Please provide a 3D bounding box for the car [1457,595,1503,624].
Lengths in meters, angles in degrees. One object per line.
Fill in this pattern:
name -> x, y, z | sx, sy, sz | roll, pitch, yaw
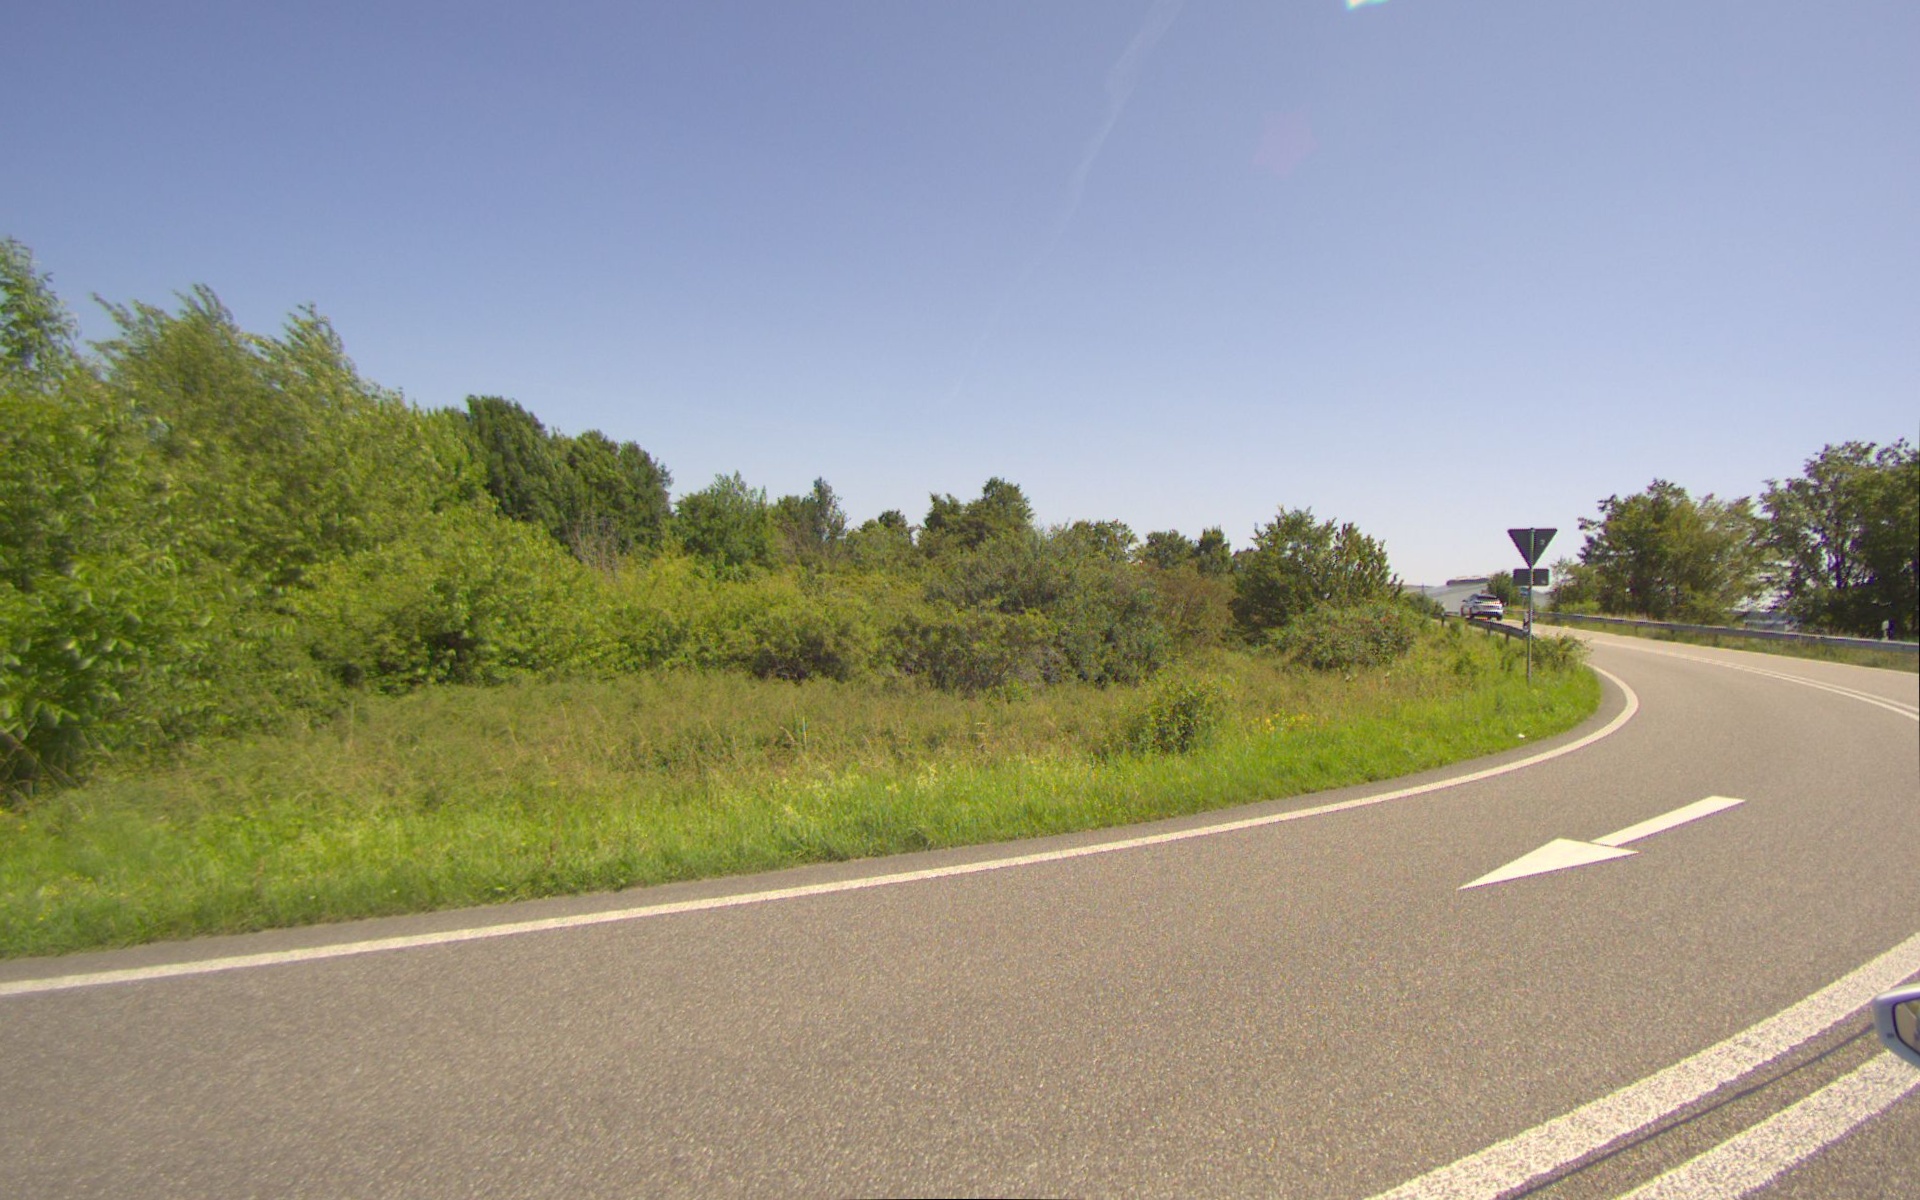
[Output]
car -> 33.094, 0.615, 63.997 | 1.778, 1.713, 4.002 | 3, 0, 16
